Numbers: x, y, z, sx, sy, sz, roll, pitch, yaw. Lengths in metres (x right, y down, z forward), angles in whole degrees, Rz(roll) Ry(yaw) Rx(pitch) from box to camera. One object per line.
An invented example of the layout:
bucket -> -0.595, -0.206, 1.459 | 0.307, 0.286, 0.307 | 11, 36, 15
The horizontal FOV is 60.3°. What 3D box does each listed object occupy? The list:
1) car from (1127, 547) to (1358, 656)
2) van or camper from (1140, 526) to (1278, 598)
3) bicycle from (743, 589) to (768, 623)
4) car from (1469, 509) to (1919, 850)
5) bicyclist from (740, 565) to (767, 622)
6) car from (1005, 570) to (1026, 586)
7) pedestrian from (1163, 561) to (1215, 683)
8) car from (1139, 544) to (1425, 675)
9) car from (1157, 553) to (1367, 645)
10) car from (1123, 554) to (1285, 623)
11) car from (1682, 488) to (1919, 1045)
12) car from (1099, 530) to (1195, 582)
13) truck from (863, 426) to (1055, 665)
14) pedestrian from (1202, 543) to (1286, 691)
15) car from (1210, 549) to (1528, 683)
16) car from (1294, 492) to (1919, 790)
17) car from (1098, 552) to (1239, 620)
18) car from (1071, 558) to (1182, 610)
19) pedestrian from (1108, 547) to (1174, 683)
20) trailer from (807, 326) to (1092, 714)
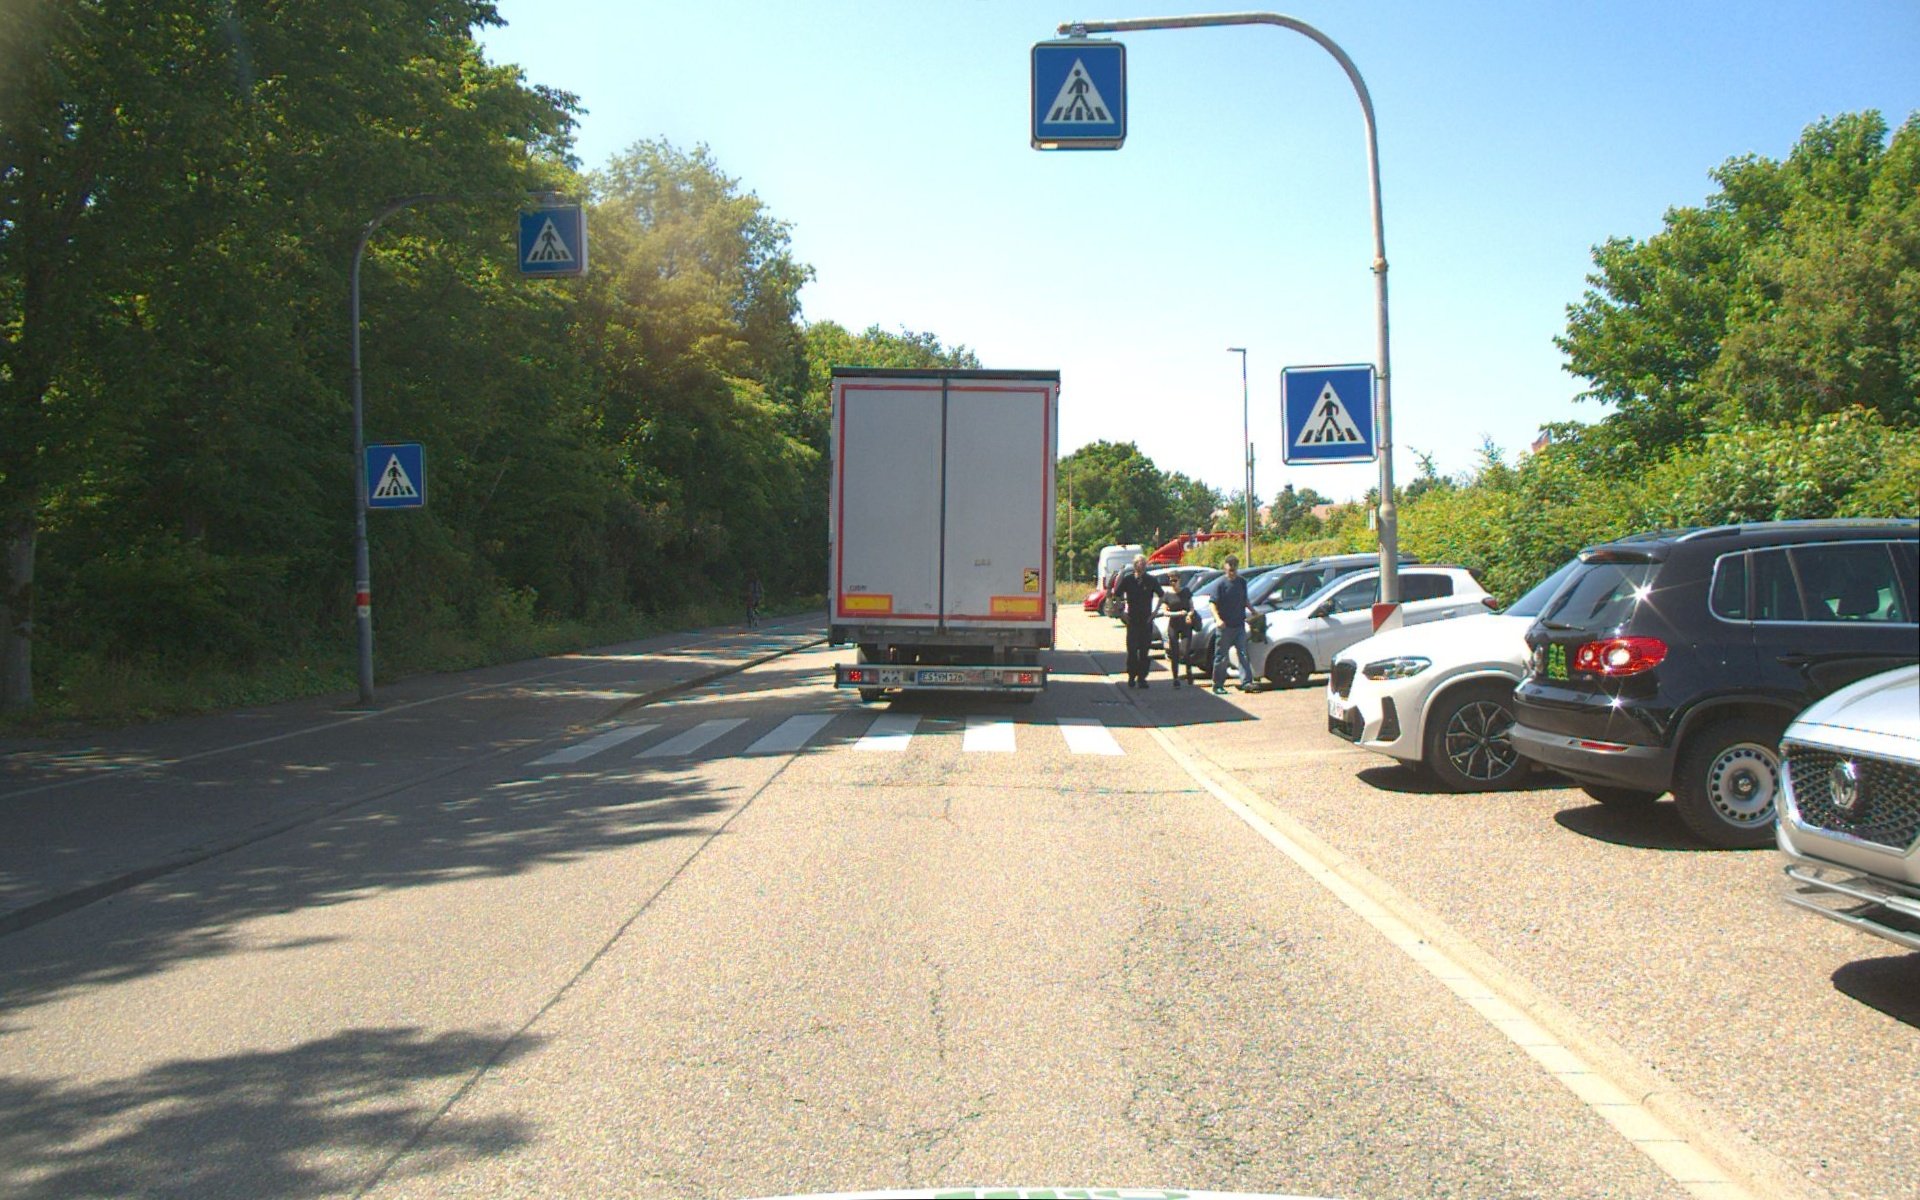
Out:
car -> 5.284, -0.015, 31.154 | 3.882, 1.696, 1.811 | -4, 4, -8
van or camper -> 13.019, -1.944, 86.387 | 6.895, 3.649, 2.775 | 0, 0, 13
bicycle -> -6.481, 0.183, 52.460 | 0.444, 1.065, 2.204 | 0, 0, 2
car -> 5.247, 0.351, 9.472 | 4.041, 1.686, 1.887 | -2, 0, 0
bicyclist -> -6.506, -0.194, 52.227 | 0.701, 1.789, 0.796 | 0, 0, 3
car -> 5.650, -2.232, 167.881 | 1.743, 1.512, 4.004 | -2, 1, 8
pedestrian -> 3.194, 0.302, 23.135 | 0.577, 1.643, 0.745 | -4, 0, 5
car -> 4.887, 0.130, 25.396 | 3.881, 1.697, 1.811 | -4, 0, -6
car -> 6.268, -0.024, 34.507 | 3.882, 1.613, 1.810 | -4, 0, -8
car -> 6.395, -0.310, 43.628 | 3.878, 1.647, 1.812 | -2, 1, -4
car -> 4.901, 0.341, 5.437 | 4.153, 1.682, 1.898 | -5, 1, -4
car -> 7.939, -1.855, 70.439 | 3.874, 1.829, 1.814 | -4, -2, 2
truck -> 0.054, -0.929, 29.433 | 3.049, 3.790, 6.415 | 0, 1, 1
pedestrian -> 3.701, 0.212, 21.606 | 0.888, 1.829, 0.935 | -4, 0, 5
car -> 5.467, 0.211, 22.498 | 3.873, 1.505, 1.814 | -4, 0, 4
car -> 4.882, 0.251, 12.216 | 4.317, 1.727, 1.876 | -4, 0, -3
car -> 6.264, -0.427, 49.929 | 3.878, 1.796, 1.812 | -3, 1, -4
car -> 6.272, -0.593, 62.604 | 3.879, 1.697, 1.812 | -4, 0, -4
pedestrian -> 2.584, 0.212, 23.693 | 0.804, 1.866, 0.793 | -4, 0, 5
trailer -> -0.055, -0.971, 23.625 | 3.049, 4.174, 11.538 | 0, 1, 1
